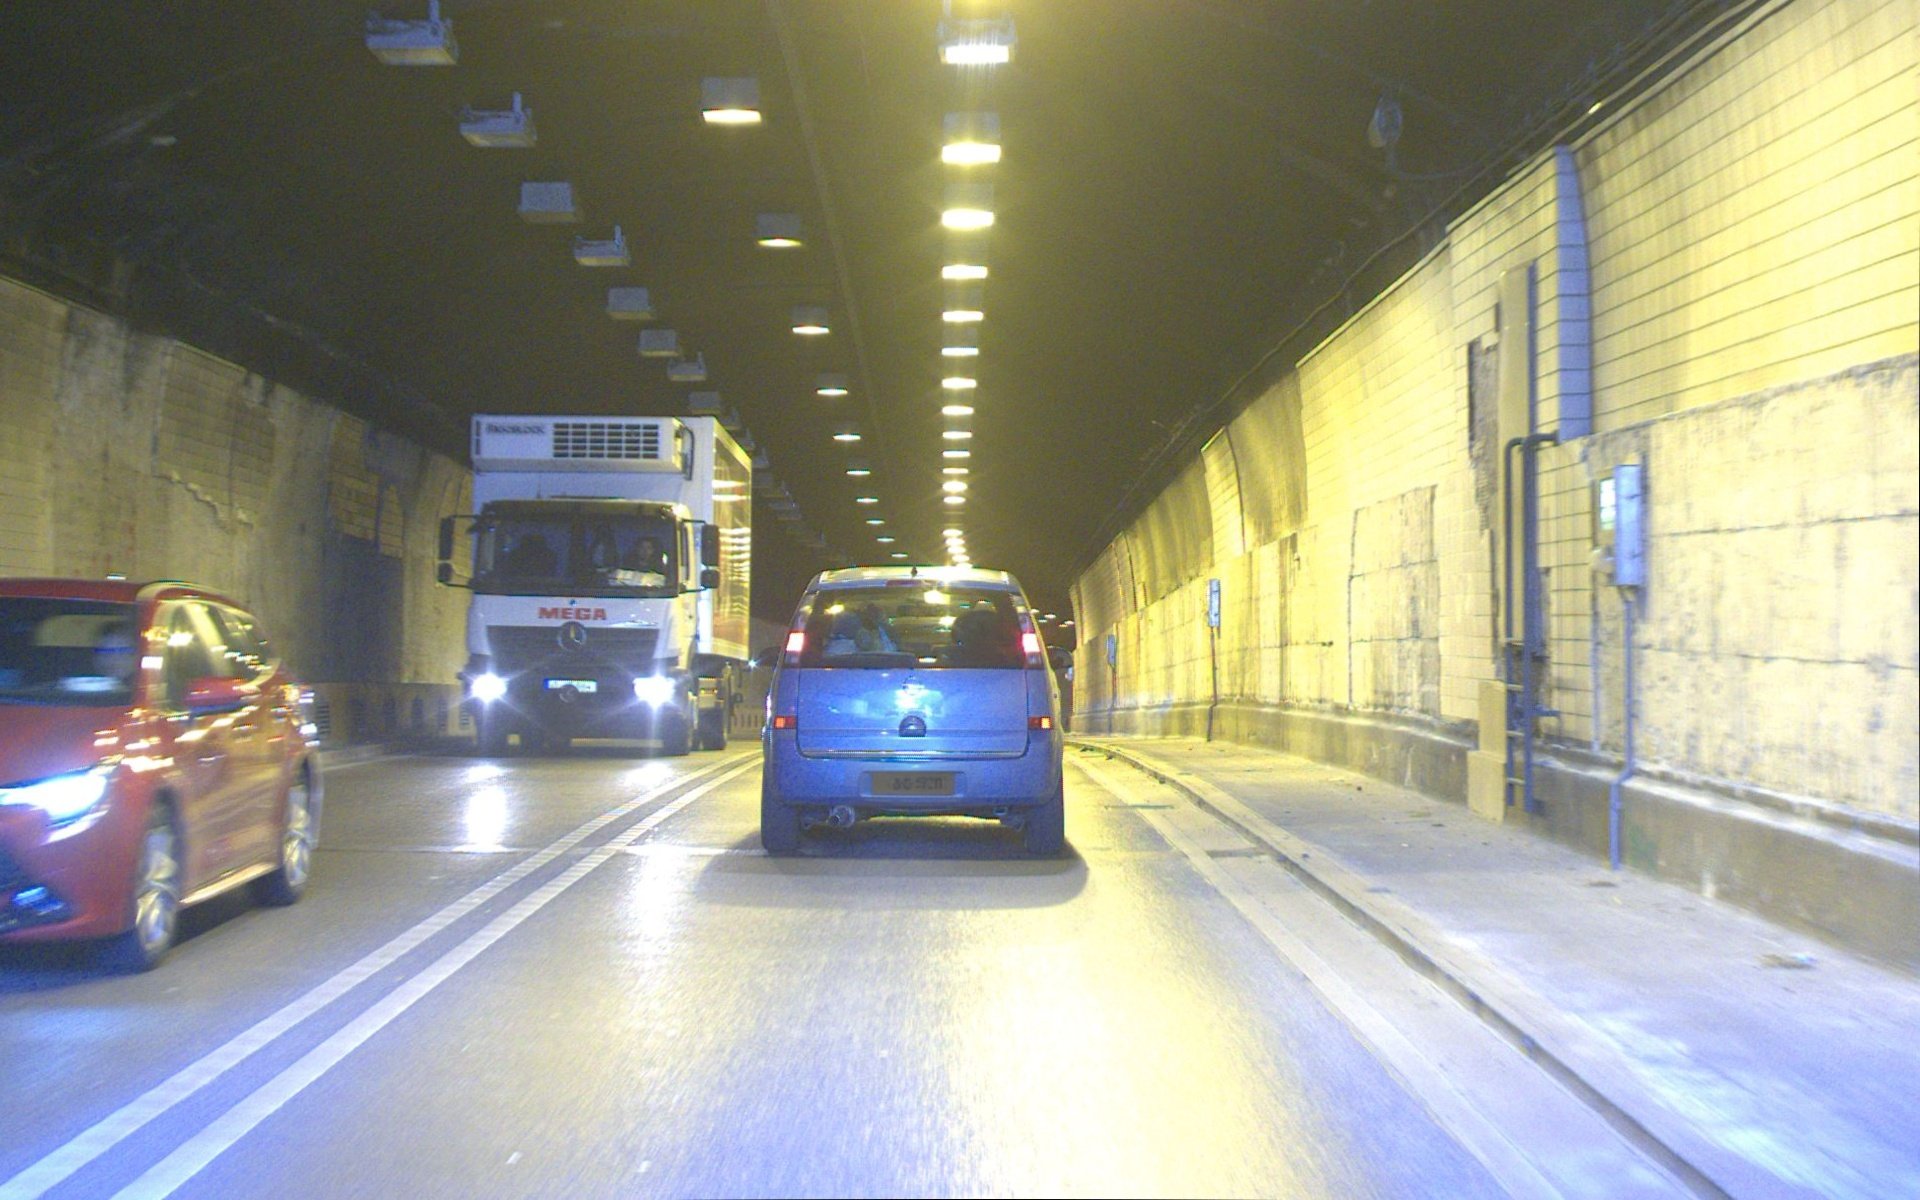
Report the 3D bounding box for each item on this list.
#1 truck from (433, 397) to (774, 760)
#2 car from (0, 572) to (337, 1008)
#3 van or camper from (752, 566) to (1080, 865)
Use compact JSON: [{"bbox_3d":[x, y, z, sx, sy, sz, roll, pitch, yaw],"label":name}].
[{"bbox_3d":[-3.855,-0.140,38.918,2.813,3.703,7.545,0,-1,2],"label":"truck"},{"bbox_3d":[-3.804,0.636,13.655,1.893,1.464,4.160,1,0,0],"label":"car"},{"bbox_3d":[-0.282,0.619,20.182,1.735,1.572,3.646,1,0,-2],"label":"van or camper"}]
